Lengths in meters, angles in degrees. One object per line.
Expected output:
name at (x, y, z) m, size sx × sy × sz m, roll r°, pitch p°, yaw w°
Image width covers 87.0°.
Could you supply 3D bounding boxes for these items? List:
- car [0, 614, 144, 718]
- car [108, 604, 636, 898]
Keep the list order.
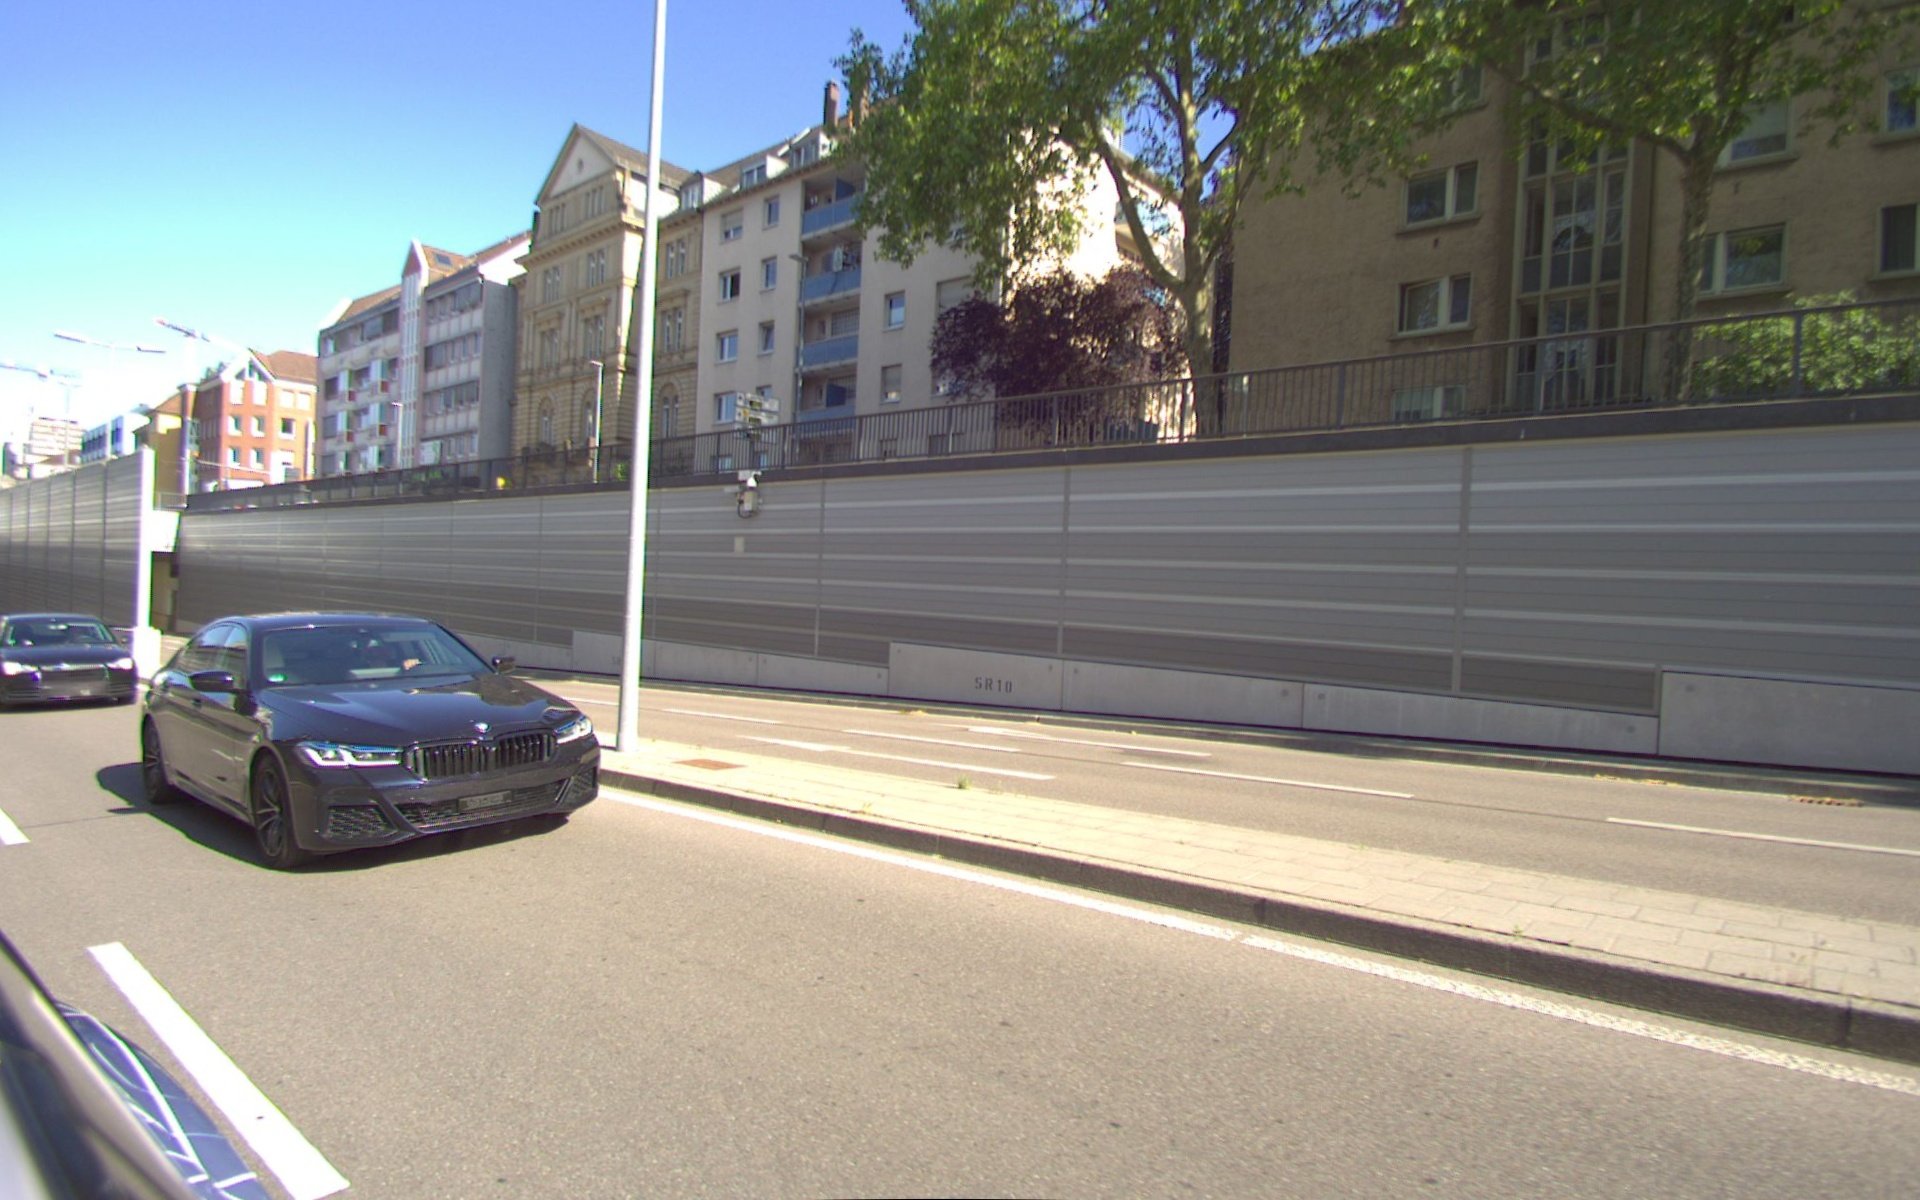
car at (-14.355, 0.943, 15.927) m, size 3.886 × 1.429 × 1.678 m, roll -1°, pitch 0°, yaw 41°
car at (-4.517, 0.774, 7.346) m, size 4.999 × 1.450 × 1.790 m, roll -1°, pitch 0°, yaw 41°
